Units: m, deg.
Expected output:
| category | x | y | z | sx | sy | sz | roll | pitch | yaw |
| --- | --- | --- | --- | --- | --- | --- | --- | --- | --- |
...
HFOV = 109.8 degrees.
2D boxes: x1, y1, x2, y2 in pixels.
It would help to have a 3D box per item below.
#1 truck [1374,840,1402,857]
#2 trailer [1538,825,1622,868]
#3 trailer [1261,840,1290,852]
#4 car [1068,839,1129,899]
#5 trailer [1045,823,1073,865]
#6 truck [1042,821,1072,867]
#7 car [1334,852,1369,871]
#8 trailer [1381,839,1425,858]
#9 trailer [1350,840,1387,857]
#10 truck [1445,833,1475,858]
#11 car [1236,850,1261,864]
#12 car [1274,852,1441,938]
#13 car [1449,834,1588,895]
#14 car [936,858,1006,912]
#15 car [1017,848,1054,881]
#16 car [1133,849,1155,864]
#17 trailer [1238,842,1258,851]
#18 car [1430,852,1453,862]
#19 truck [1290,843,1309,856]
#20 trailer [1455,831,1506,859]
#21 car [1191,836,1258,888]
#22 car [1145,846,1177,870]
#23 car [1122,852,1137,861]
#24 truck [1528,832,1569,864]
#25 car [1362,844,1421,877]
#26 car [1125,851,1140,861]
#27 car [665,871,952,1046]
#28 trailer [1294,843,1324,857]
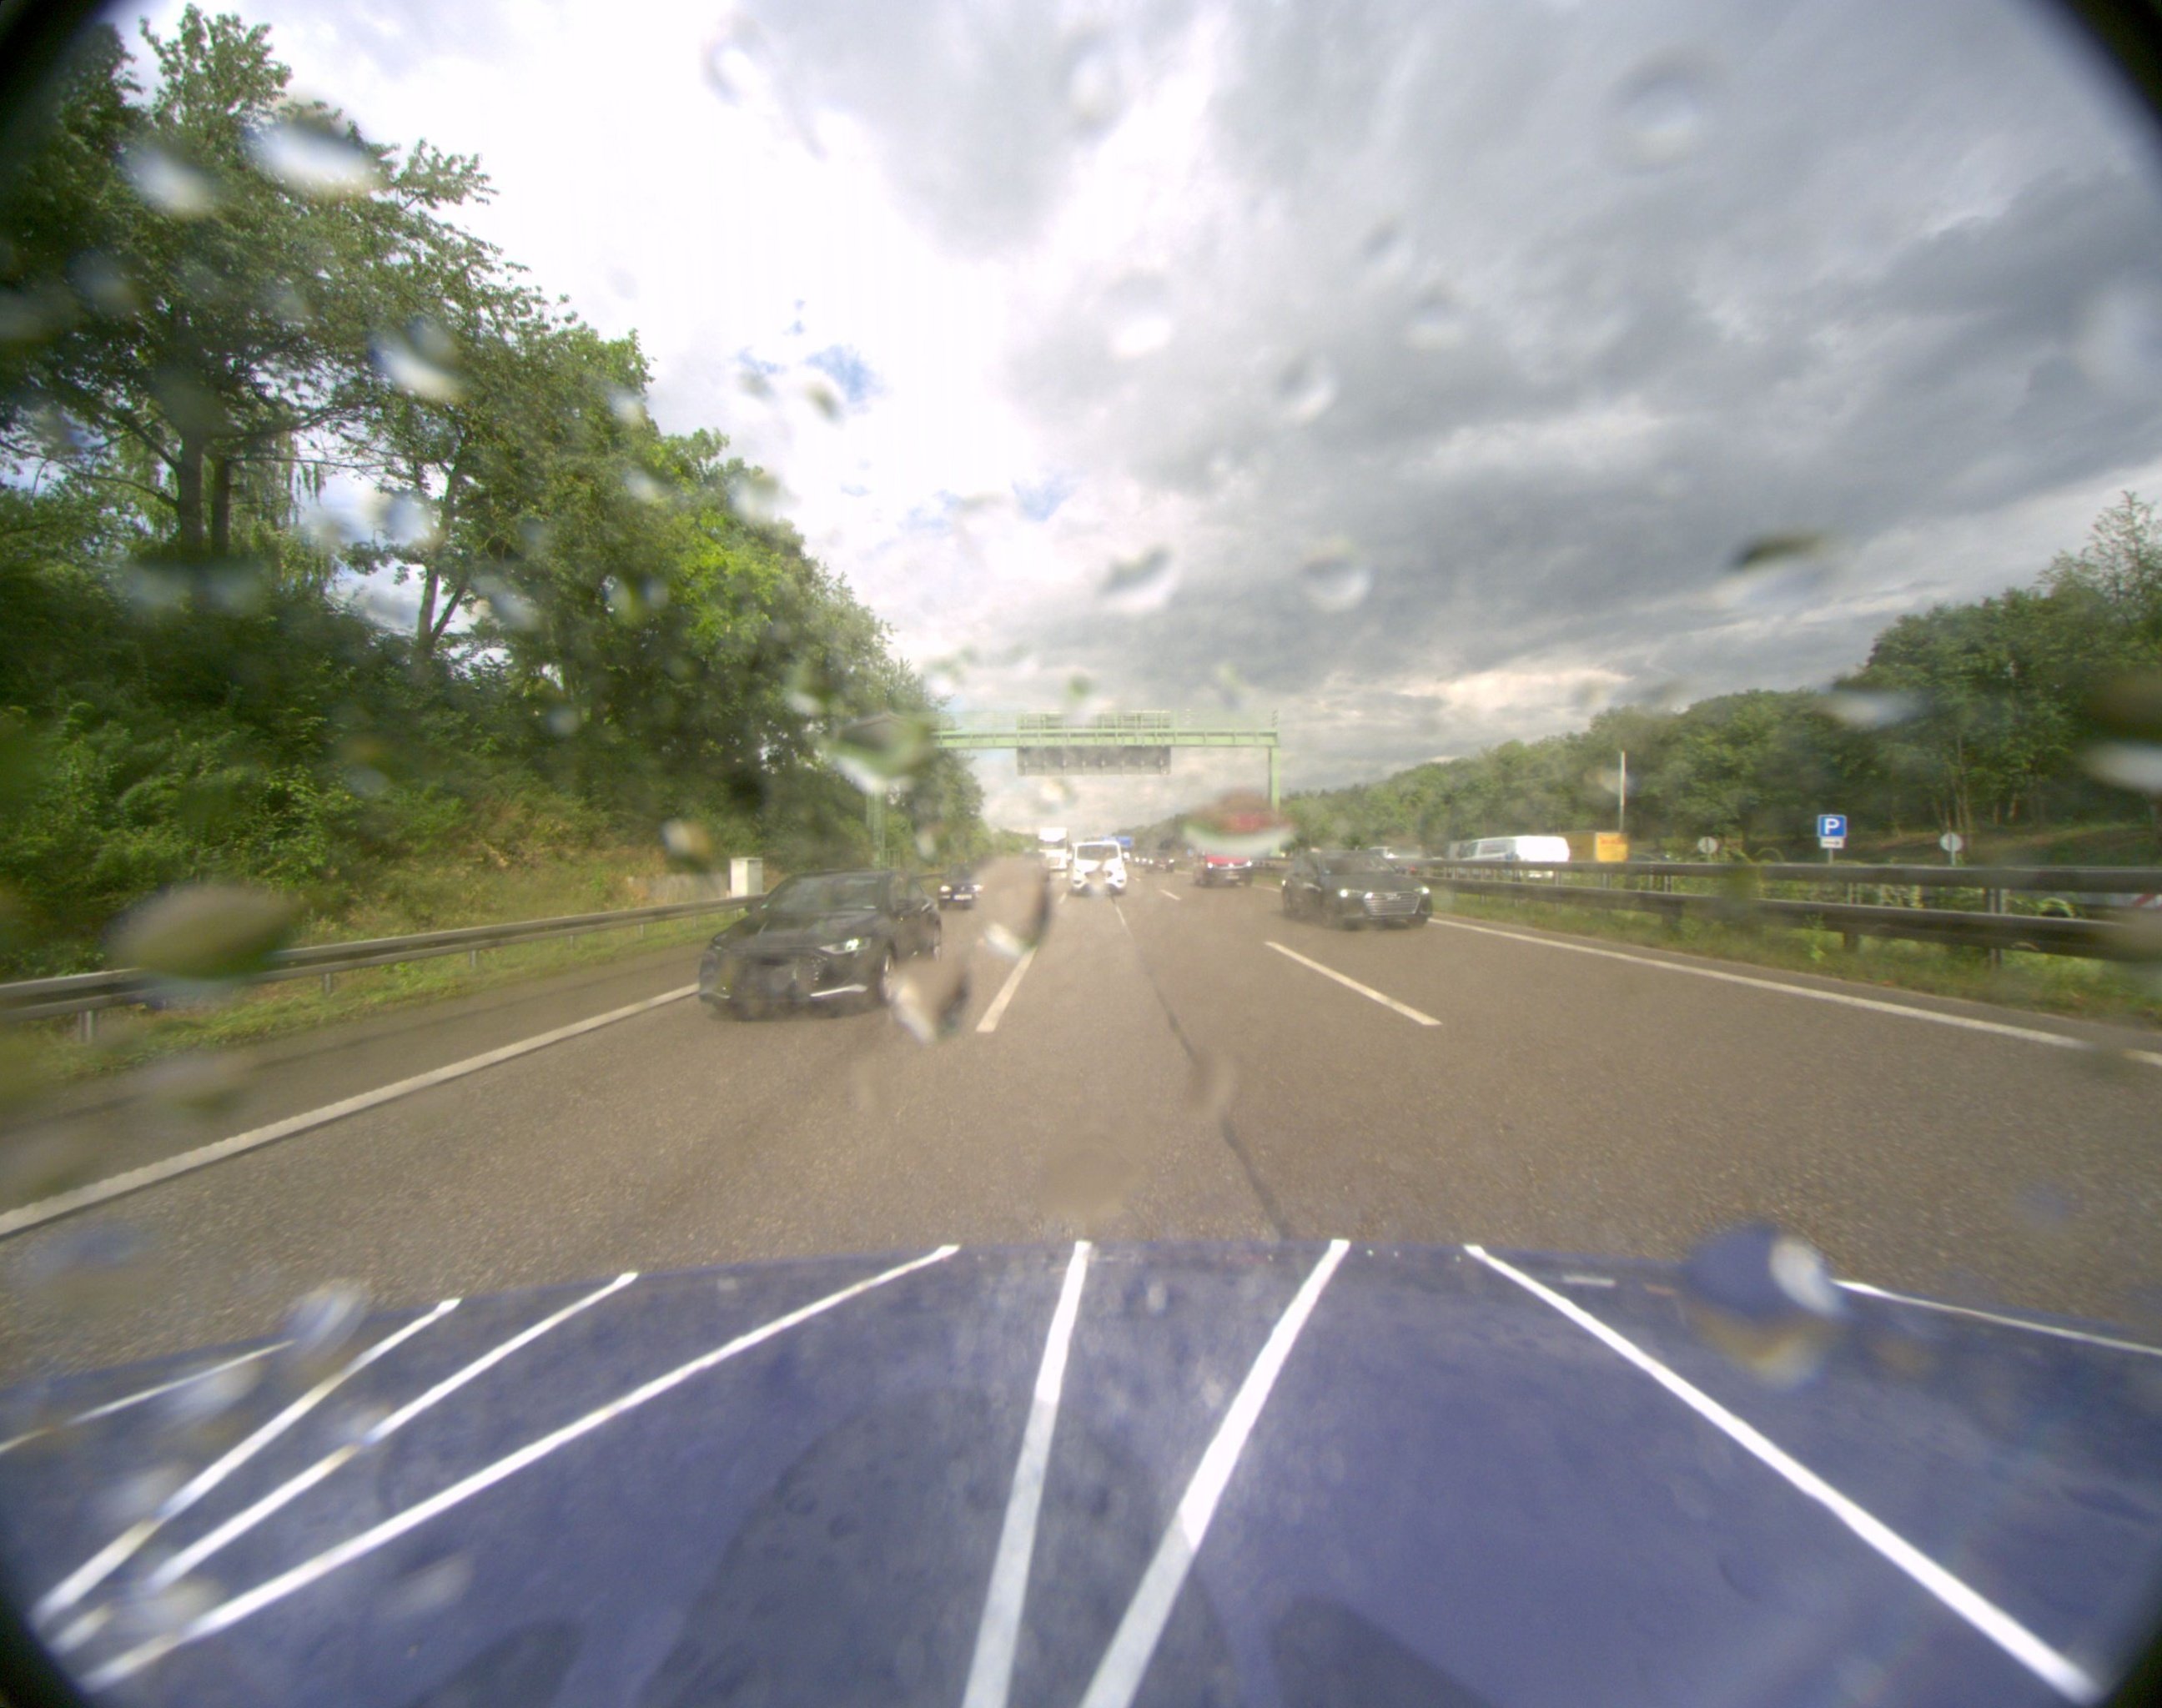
| category | x | y | z | sx | sy | sz | roll | pitch | yaw |
| --- | --- | --- | --- | --- | --- | --- | --- | --- | --- |
| truck | 57.199 | -1.017 | 141.599 | 3.049 | 3.165 | 5.597 | 0 | 1 | 2 |
| trailer | 47.220 | -0.809 | 72.543 | 1.996 | 3.673 | 13.669 | -2 | 1 | 13 |
| trailer | 54.310 | -2.137 | 212.594 | 3.085 | 3.253 | 13.401 | 0 | 1 | -6 |
| car | 0.594 | 0.500 | 28.209 | 1.985 | 1.973 | 5.168 | -2 | 0 | 0 |
| trailer | -2.211 | -1.035 | 80.084 | 2.451 | 4.095 | 12.214 | -2 | 1 | 0 |
| truck | -2.253 | -0.903 | 72.237 | 2.460 | 4.080 | 5.332 | -2 | 0 | 0 |
| car | 23.073 | 0.611 | 64.881 | 1.635 | 1.473 | 3.786 | -1 | 0 | 1 |
| trailer | 56.949 | -0.973 | 134.693 | 3.026 | 3.174 | 12.175 | 0 | 0 | 2 |
| trailer | 57.766 | -1.178 | 152.958 | 2.611 | 3.253 | 12.647 | 0 | 1 | 0 |
| truck | 54.129 | -1.194 | 108.613 | 2.167 | 3.599 | 5.581 | 0 | 1 | 8 |
| car | 18.730 | 0.334 | 85.218 | 1.926 | 1.571 | 4.000 | -1 | 0 | 0 |
| car | 5.321 | 0.704 | 15.287 | 1.723 | 1.403 | 4.467 | -2 | 1 | 0 |
| car | 15.146 | 0.339 | 26.667 | 1.999 | 1.823 | 4.618 | -3 | 0 | -2 |
| car | -3.330 | 0.901 | 23.643 | 1.655 | 1.448 | 3.744 | -2 | 1 | -1 |
| car | -2.661 | 0.561 | 45.505 | 1.831 | 1.793 | 5.305 | -1 | 0 | 0 |
| car | 6.494 | 0.239 | 78.840 | 1.895 | 1.558 | 4.053 | -2 | 1 | 0 |
| trailer | 51.236 | -2.233 | 233.334 | 2.537 | 2.559 | 9.869 | -2 | 1 | -11 |
| car | 56.247 | 0.424 | 118.683 | 1.899 | 1.494 | 4.001 | 0 | 0 | 5 |
| truck | 55.891 | -1.117 | 194.869 | 3.182 | 3.237 | 5.389 | 0 | 1 | -2 |
| trailer | 53.071 | -1.153 | 101.325 | 2.186 | 3.579 | 11.726 | 0 | 0 | 8 |
| car | 5.949 | 0.295 | 32.108 | 1.895 | 1.973 | 4.750 | -2 | 0 | 0 |
| car | 5.957 | 0.277 | 56.970 | 1.895 | 1.660 | 4.294 | -2 | 1 | 0 |
| car | 7.276 | 0.366 | 114.087 | 1.888 | 1.228 | 4.506 | -2 | 0 | 0 |
| truck | 48.821 | -0.660 | 79.468 | 1.979 | 3.080 | 5.080 | -2 | 1 | 13 |
| car | 18.890 | 0.344 | 46.439 | 1.929 | 1.900 | 4.288 | -1 | 0 | 1 |
| car | 6.896 | 0.290 | 101.724 | 1.675 | 1.228 | 4.000 | -2 | 0 | 0 |
| car | -2.827 | 0.995 | 9.030 | 1.759 | 1.388 | 4.368 | -2 | 1 | 0 |
| trailer | 56.180 | -1.064 | 187.776 | 3.193 | 3.253 | 12.644 | 0 | 1 | -2 |
